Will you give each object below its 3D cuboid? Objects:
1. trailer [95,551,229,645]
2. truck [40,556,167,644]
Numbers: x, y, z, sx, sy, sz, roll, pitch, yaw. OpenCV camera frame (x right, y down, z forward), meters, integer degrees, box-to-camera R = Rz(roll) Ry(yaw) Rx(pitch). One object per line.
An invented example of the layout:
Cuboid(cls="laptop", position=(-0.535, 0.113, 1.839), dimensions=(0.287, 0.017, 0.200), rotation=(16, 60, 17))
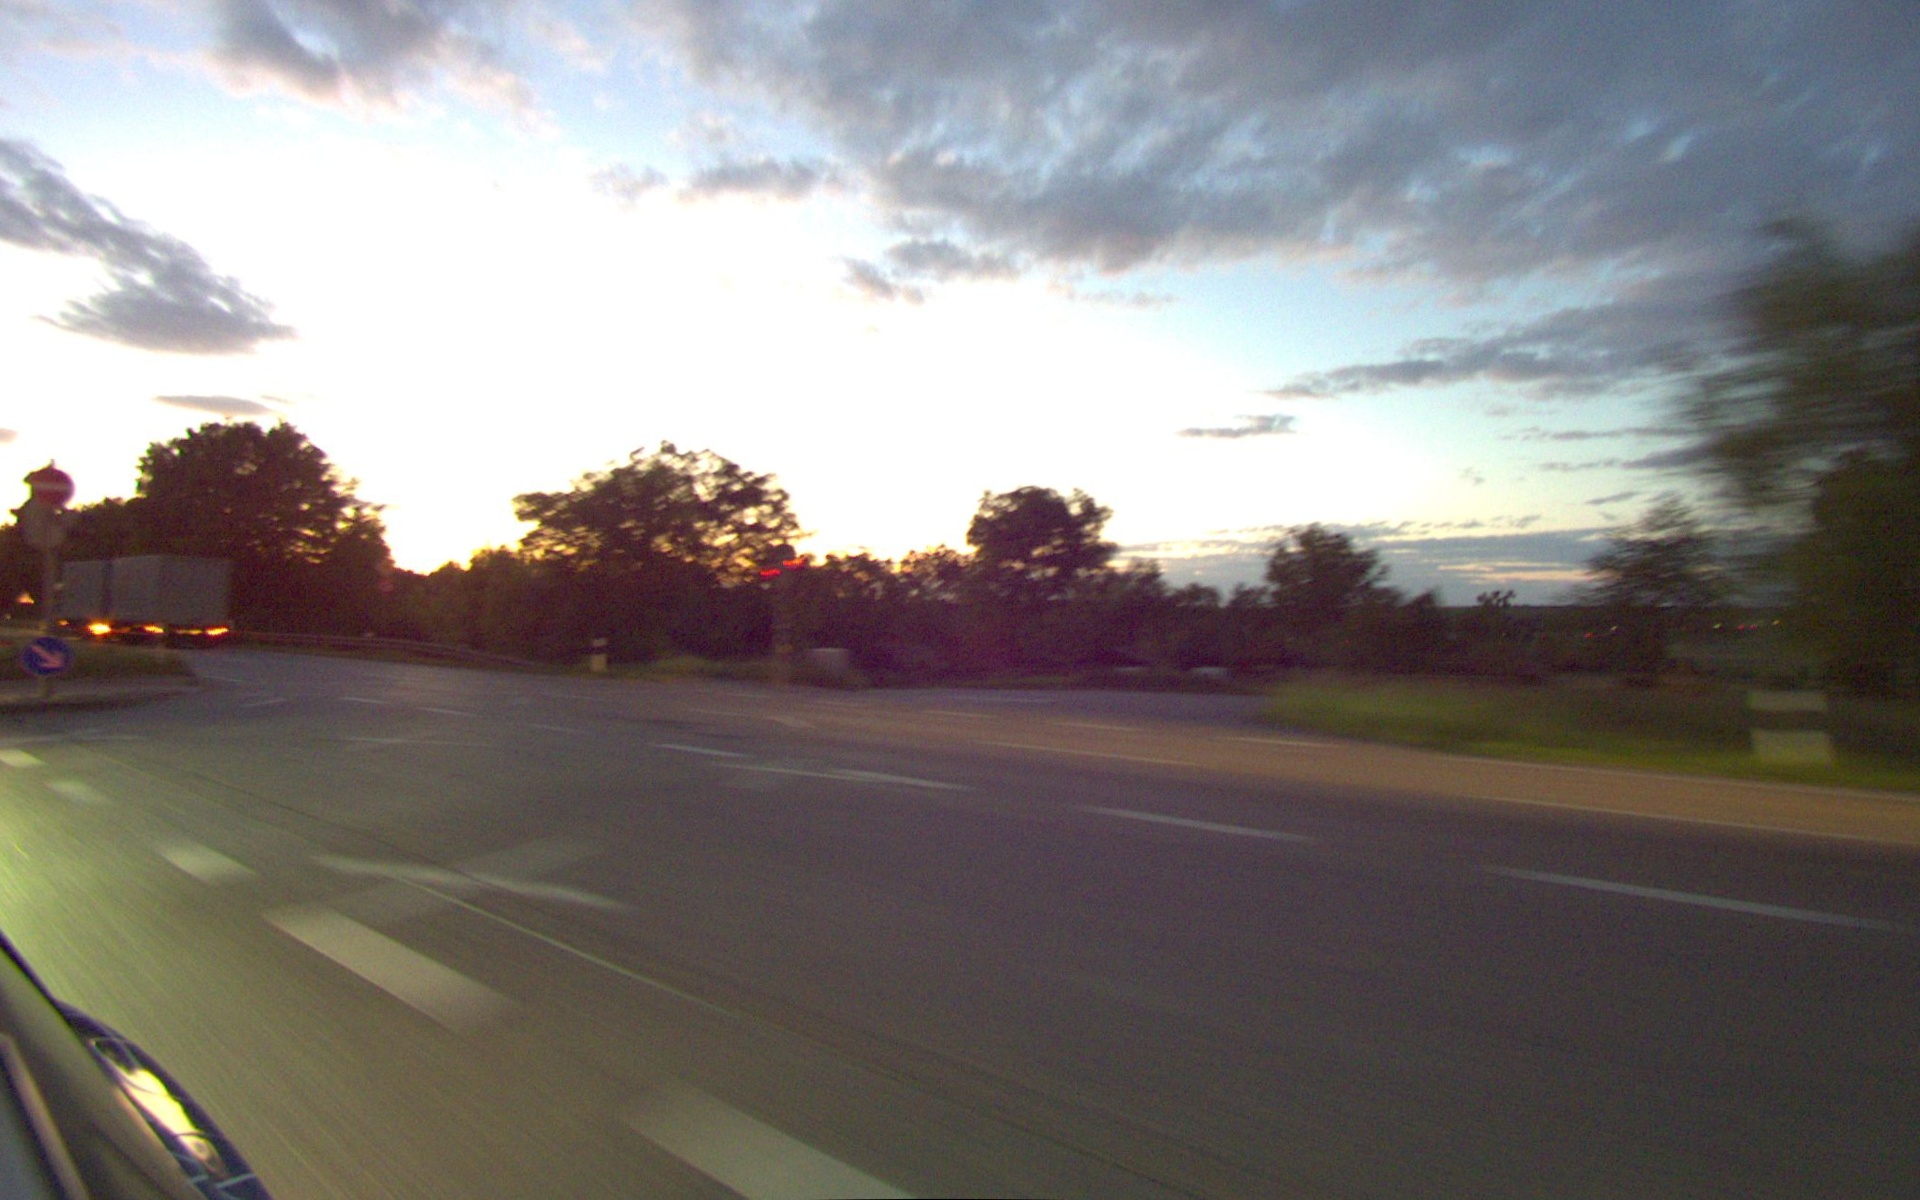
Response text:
Cuboid(cls="trailer", position=(-36.592, -0.013, 46.256), dimensions=(8.863, 3.973, 2.552), rotation=(-1, -3, 37))
Cuboid(cls="truck", position=(-44.162, 0.031, 52.040), dimensions=(10.328, 4.148, 2.701), rotation=(0, -1, 37))
